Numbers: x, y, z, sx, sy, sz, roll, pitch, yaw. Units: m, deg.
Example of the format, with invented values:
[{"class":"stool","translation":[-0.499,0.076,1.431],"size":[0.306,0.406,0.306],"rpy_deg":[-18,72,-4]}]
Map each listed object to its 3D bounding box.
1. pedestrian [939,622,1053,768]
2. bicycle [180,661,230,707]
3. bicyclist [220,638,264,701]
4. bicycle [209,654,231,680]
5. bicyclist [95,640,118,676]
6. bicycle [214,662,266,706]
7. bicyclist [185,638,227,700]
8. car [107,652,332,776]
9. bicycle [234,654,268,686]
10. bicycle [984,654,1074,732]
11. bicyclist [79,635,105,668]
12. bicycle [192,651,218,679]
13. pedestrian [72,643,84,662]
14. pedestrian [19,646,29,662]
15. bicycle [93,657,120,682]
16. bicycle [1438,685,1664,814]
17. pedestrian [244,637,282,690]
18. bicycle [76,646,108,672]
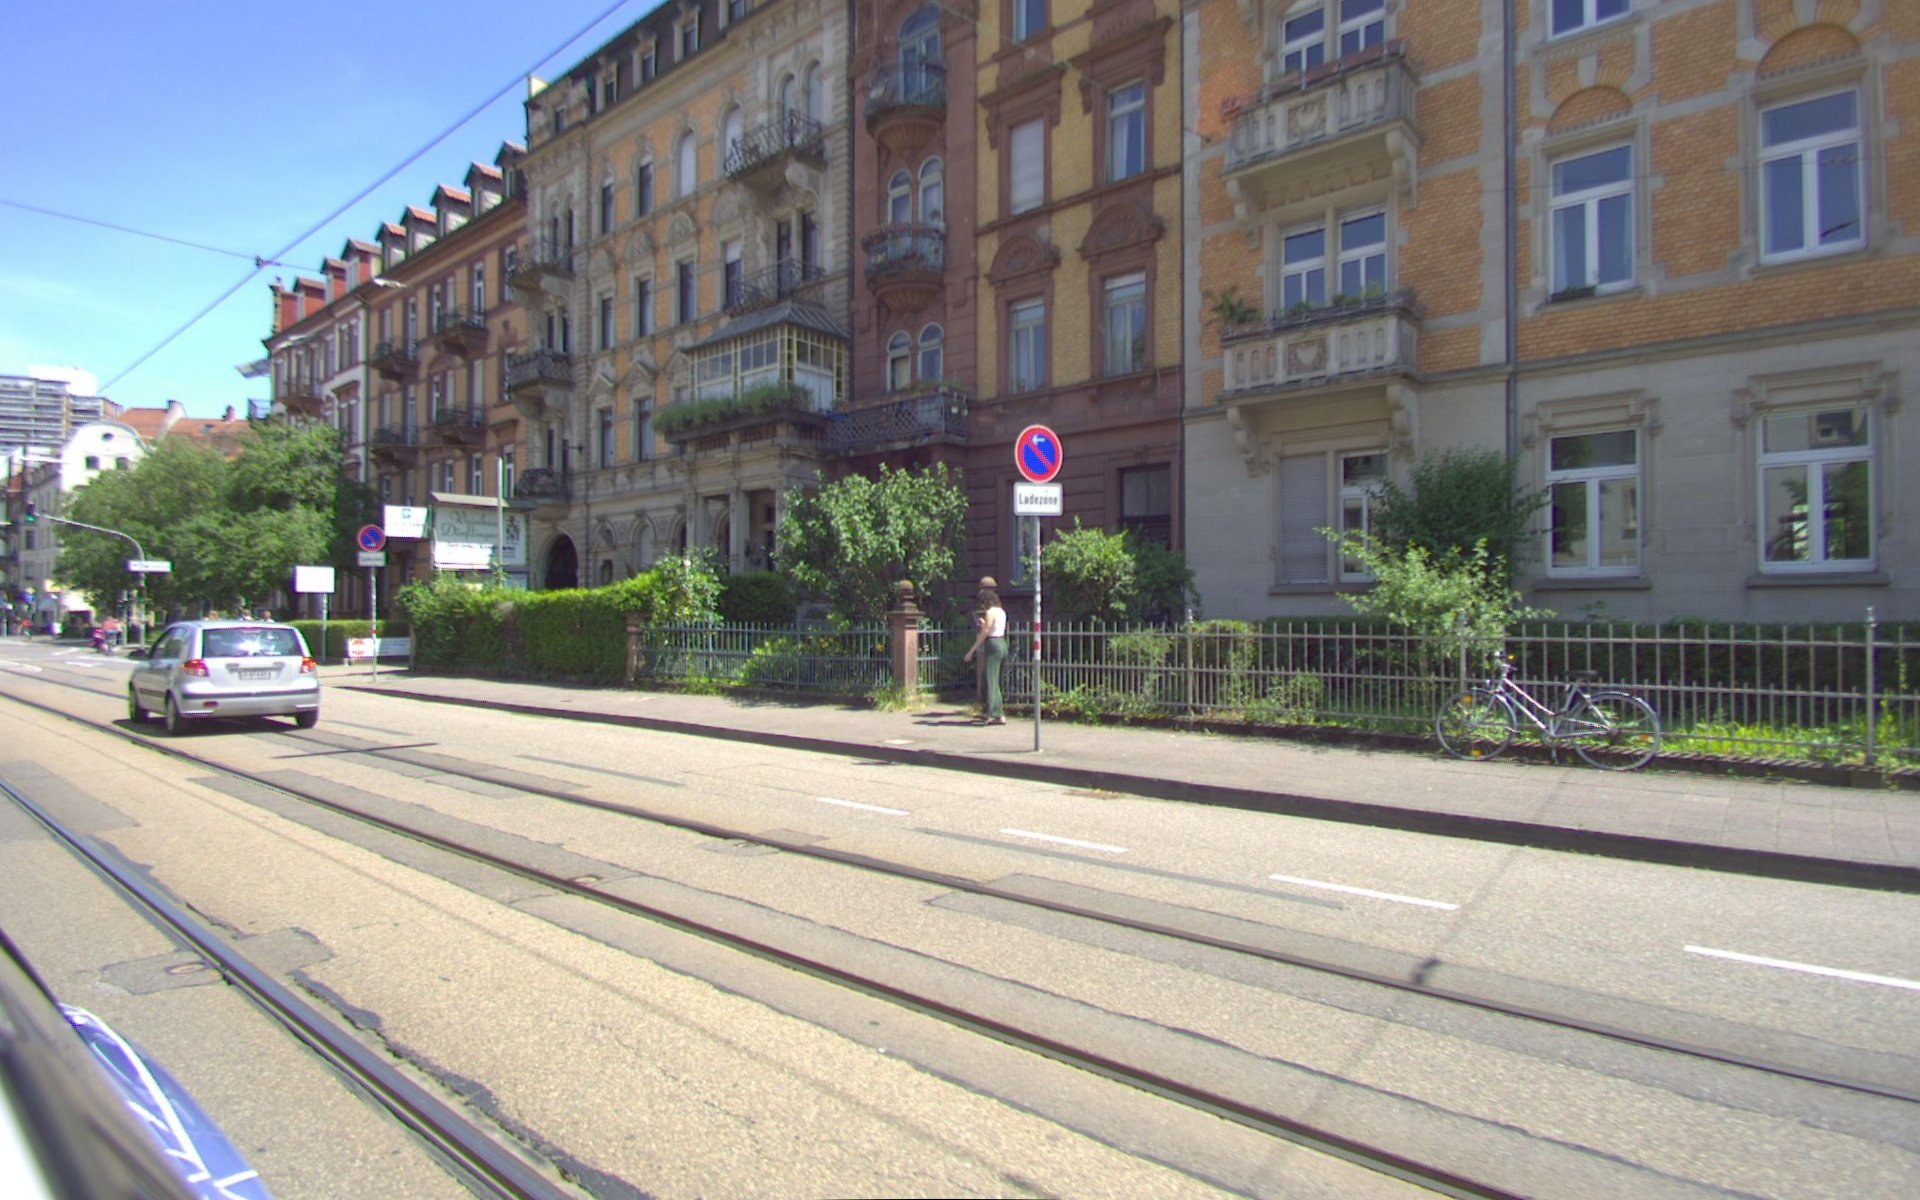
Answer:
[{"class":"pedestrian","translation":[0.455,1.172,12.909],"size":[1.138,1.736,0.842],"rpy_deg":[-2,-1,41]},{"class":"bicycle","translation":[-19.279,2.126,25.828],"size":[1.889,1.086,0.575],"rpy_deg":[-2,-4,40]},{"class":"bicyclist","translation":[-18.756,1.806,26.432],"size":[1.027,1.597,0.627],"rpy_deg":[-2,-4,40]},{"class":"bicycle","translation":[-30.962,2.784,42.312],"size":[1.565,1.064,0.454],"rpy_deg":[-2,-3,44]},{"class":"bicyclist","translation":[-36.166,2.459,42.891],"size":[0.891,1.527,0.556],"rpy_deg":[-2,-3,41]},{"class":"bicycle","translation":[-18.836,2.176,26.470],"size":[1.873,1.086,0.622],"rpy_deg":[-2,-4,40]},{"class":"bicyclist","translation":[-19.260,1.748,25.843],"size":[0.951,1.556,0.586],"rpy_deg":[-2,-4,40]},{"class":"car","translation":[-10.371,1.460,14.074],"size":[3.998,1.461,1.667],"rpy_deg":[-2,-4,41]},{"class":"bicycle","translation":[-25.739,2.531,36.725],"size":[1.931,1.102,0.631],"rpy_deg":[-2,-1,44]},{"class":"bicycle","translation":[1.009,1.309,14.599],"size":[0.495,1.051,1.494],"rpy_deg":[-2,-3,41]},{"class":"bicyclist","translation":[-42.896,2.536,50.022],"size":[0.980,1.642,0.799],"rpy_deg":[-2,-3,41]},{"class":"bicycle","translation":[-32.608,2.799,43.702],"size":[1.716,1.178,0.566],"rpy_deg":[-2,-3,44]},{"class":"pedestrian","translation":[-68.244,4.029,78.323],"size":[0.519,1.452,0.531],"rpy_deg":[-1,-3,30]},{"class":"pedestrian","translation":[-85.193,4.917,92.111],"size":[0.519,1.452,0.531],"rpy_deg":[-1,-3,30]},{"class":"bicycle","translation":[-36.156,2.932,42.855],"size":[1.828,1.046,0.562],"rpy_deg":[-2,-3,41]},{"class":"bicycle","translation":[5.380,1.327,9.272],"size":[1.709,0.994,0.492],"rpy_deg":[-2,1,39]},{"class":"pedestrian","translation":[-23.038,2.069,33.460],"size":[0.861,1.713,1.014],"rpy_deg":[2,-3,-43]},{"class":"bicycle","translation":[-42.875,2.903,49.989],"size":[2.549,1.281,0.799],"rpy_deg":[-2,-3,41]}]
